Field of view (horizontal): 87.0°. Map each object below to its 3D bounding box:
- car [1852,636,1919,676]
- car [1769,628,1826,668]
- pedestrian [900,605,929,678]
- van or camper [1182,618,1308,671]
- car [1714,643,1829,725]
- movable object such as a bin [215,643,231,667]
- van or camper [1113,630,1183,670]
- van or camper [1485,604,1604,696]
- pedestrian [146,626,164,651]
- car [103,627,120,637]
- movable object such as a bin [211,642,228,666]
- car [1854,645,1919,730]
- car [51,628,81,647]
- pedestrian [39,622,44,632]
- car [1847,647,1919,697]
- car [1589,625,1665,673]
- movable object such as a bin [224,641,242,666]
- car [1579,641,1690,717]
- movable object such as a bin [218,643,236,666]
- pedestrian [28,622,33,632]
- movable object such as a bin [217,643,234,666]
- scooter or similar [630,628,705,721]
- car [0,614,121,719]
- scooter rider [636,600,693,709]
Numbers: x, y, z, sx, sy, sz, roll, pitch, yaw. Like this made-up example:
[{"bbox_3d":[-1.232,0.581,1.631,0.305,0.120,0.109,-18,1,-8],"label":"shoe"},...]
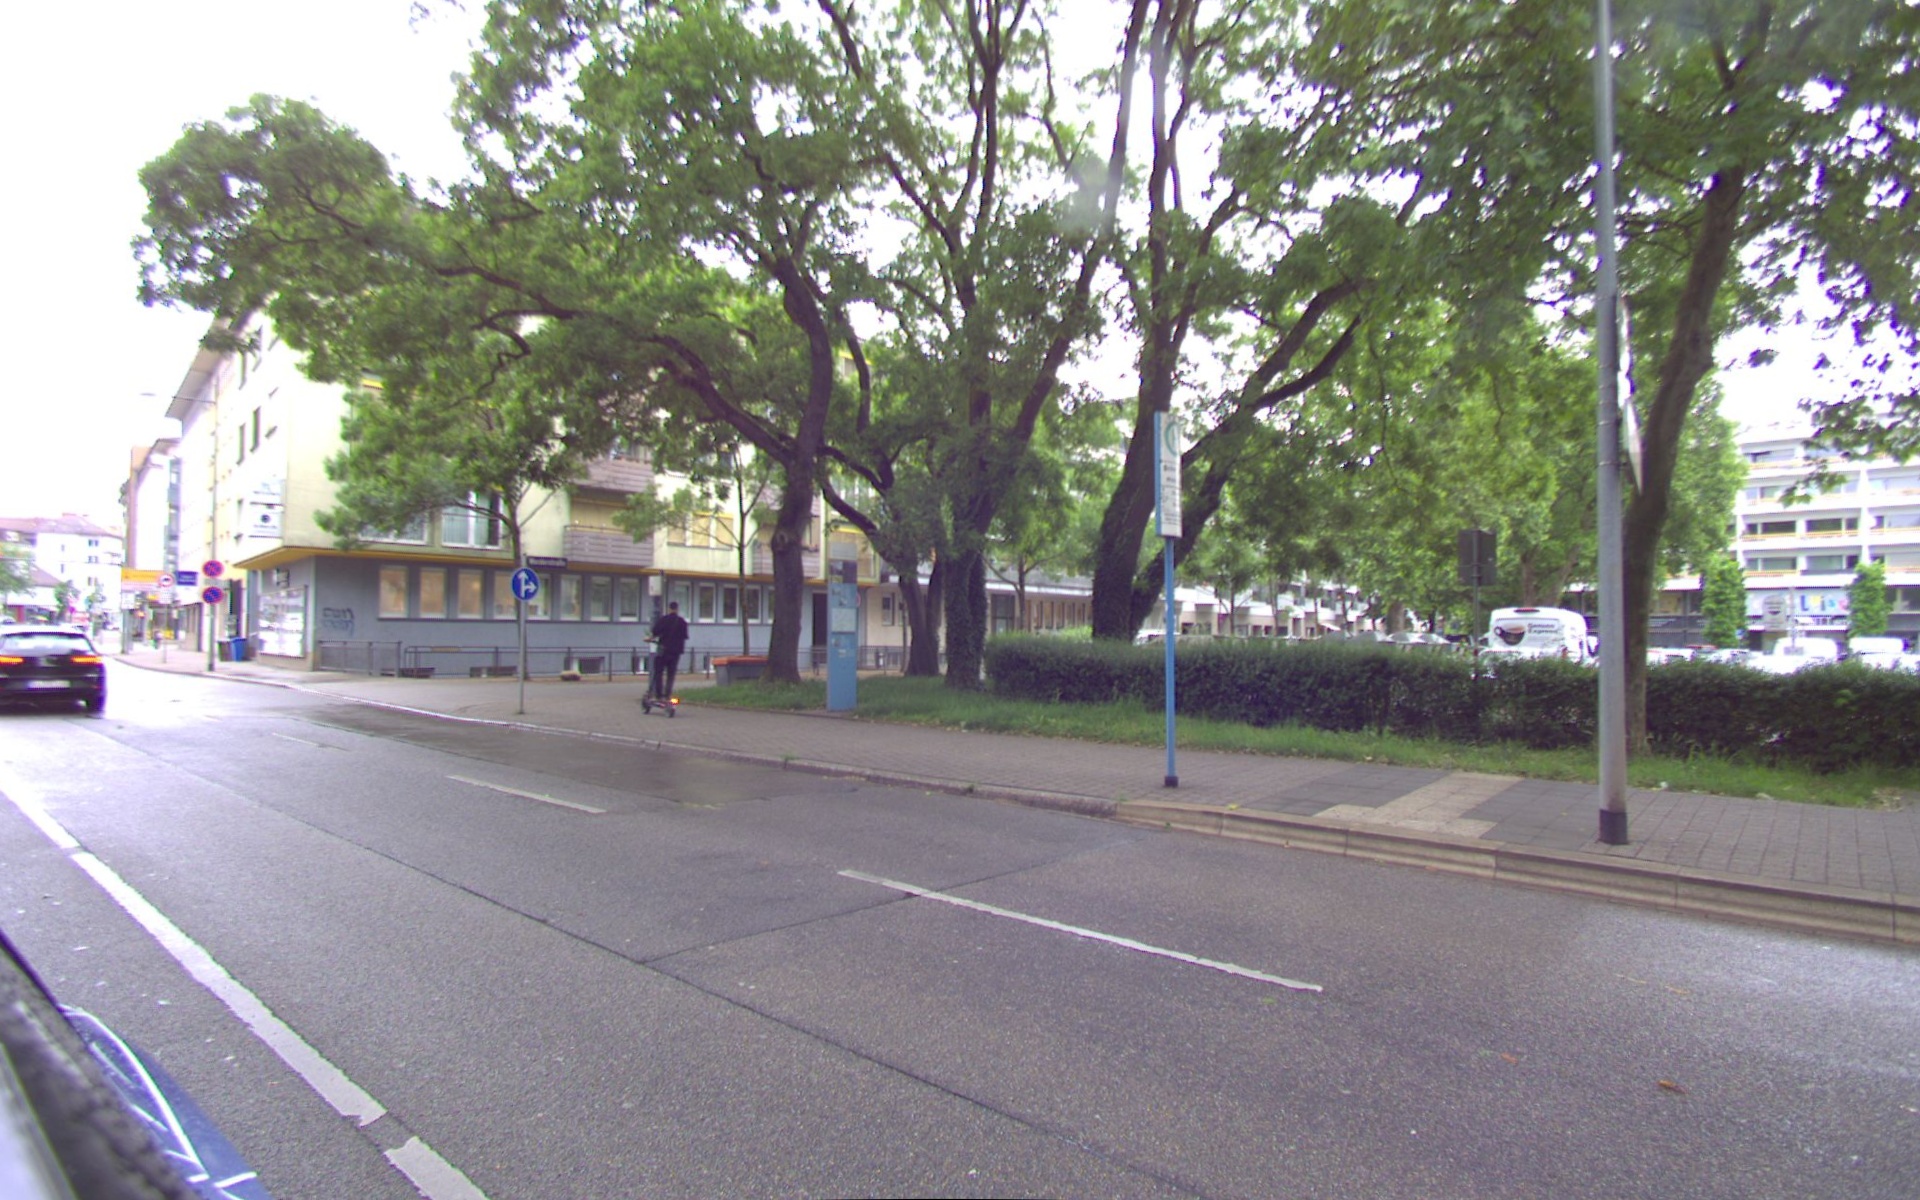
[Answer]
[{"bbox_3d":[40.312,2.405,44.156,1.895,1.497,3.948,-1,0,39],"label":"car"},{"bbox_3d":[41.881,2.367,50.678,2.097,1.735,3.948,-1,0,39],"label":"car"},{"bbox_3d":[-1.290,1.159,28.503,0.770,2.029,0.753,0,-2,-5],"label":"pedestrian"},{"bbox_3d":[14.118,2.162,49.567,2.561,2.420,8.535,-2,-3,41],"label":"van or camper"},{"bbox_3d":[18.594,1.841,23.215,1.895,1.497,3.948,-1,0,39],"label":"car"},{"bbox_3d":[-31.197,2.323,42.833,0.458,0.935,0.429,-3,1,-42],"label":"movable object such as a bin"},{"bbox_3d":[10.377,2.741,55.603,1.825,2.029,4.576,1,-2,38],"label":"van or camper"},{"bbox_3d":[16.898,1.425,29.196,2.099,2.450,4.280,-2,-3,42],"label":"van or camper"},{"bbox_3d":[-53.514,2.574,67.275,0.773,1.600,0.675,-1,-1,-29],"label":"pedestrian"},{"bbox_3d":[-127.171,4.809,151.679,1.567,1.539,3.496,2,-3,-36],"label":"car"},{"bbox_3d":[-31.718,2.304,43.364,0.510,1.008,0.524,-3,1,-42],"label":"movable object such as a bin"},{"bbox_3d":[20.491,1.810,21.606,1.895,1.497,3.948,-1,0,39],"label":"car"},{"bbox_3d":[-82.243,3.444,93.137,1.807,1.634,4.007,2,-3,-39],"label":"car"},{"bbox_3d":[-119.061,3.541,131.237,0.380,1.301,0.394,-2,-3,41],"label":"pedestrian"},{"bbox_3d":[33.345,2.539,36.459,1.895,1.497,3.948,-1,0,39],"label":"car"},{"bbox_3d":[24.040,1.724,36.439,1.895,1.497,3.948,-1,0,39],"label":"car"},{"bbox_3d":[-30.012,2.213,41.758,0.522,0.968,0.435,-3,1,-42],"label":"movable object such as a bin"},{"bbox_3d":[16.715,1.871,24.999,1.895,1.497,3.948,-1,0,39],"label":"car"},{"bbox_3d":[-30.462,2.268,42.035,0.522,0.902,0.435,-3,1,-42],"label":"movable object such as a bin"},{"bbox_3d":[-121.093,3.567,131.859,0.394,1.301,0.381,2,-3,-40],"label":"pedestrian"},{"bbox_3d":[-30.783,2.277,42.423,0.521,0.935,0.426,-3,1,-42],"label":"movable object such as a bin"},{"bbox_3d":[-4.879,1.205,16.826,0.803,1.457,1.402,2,-2,-33],"label":"scooter or similar"},{"bbox_3d":[-16.253,1.115,17.666,4.136,1.638,1.826,-2,-4,42],"label":"car"},{"bbox_3d":[-4.946,0.897,16.952,0.723,1.779,0.647,2,-1,-33],"label":"scooter rider"}]
